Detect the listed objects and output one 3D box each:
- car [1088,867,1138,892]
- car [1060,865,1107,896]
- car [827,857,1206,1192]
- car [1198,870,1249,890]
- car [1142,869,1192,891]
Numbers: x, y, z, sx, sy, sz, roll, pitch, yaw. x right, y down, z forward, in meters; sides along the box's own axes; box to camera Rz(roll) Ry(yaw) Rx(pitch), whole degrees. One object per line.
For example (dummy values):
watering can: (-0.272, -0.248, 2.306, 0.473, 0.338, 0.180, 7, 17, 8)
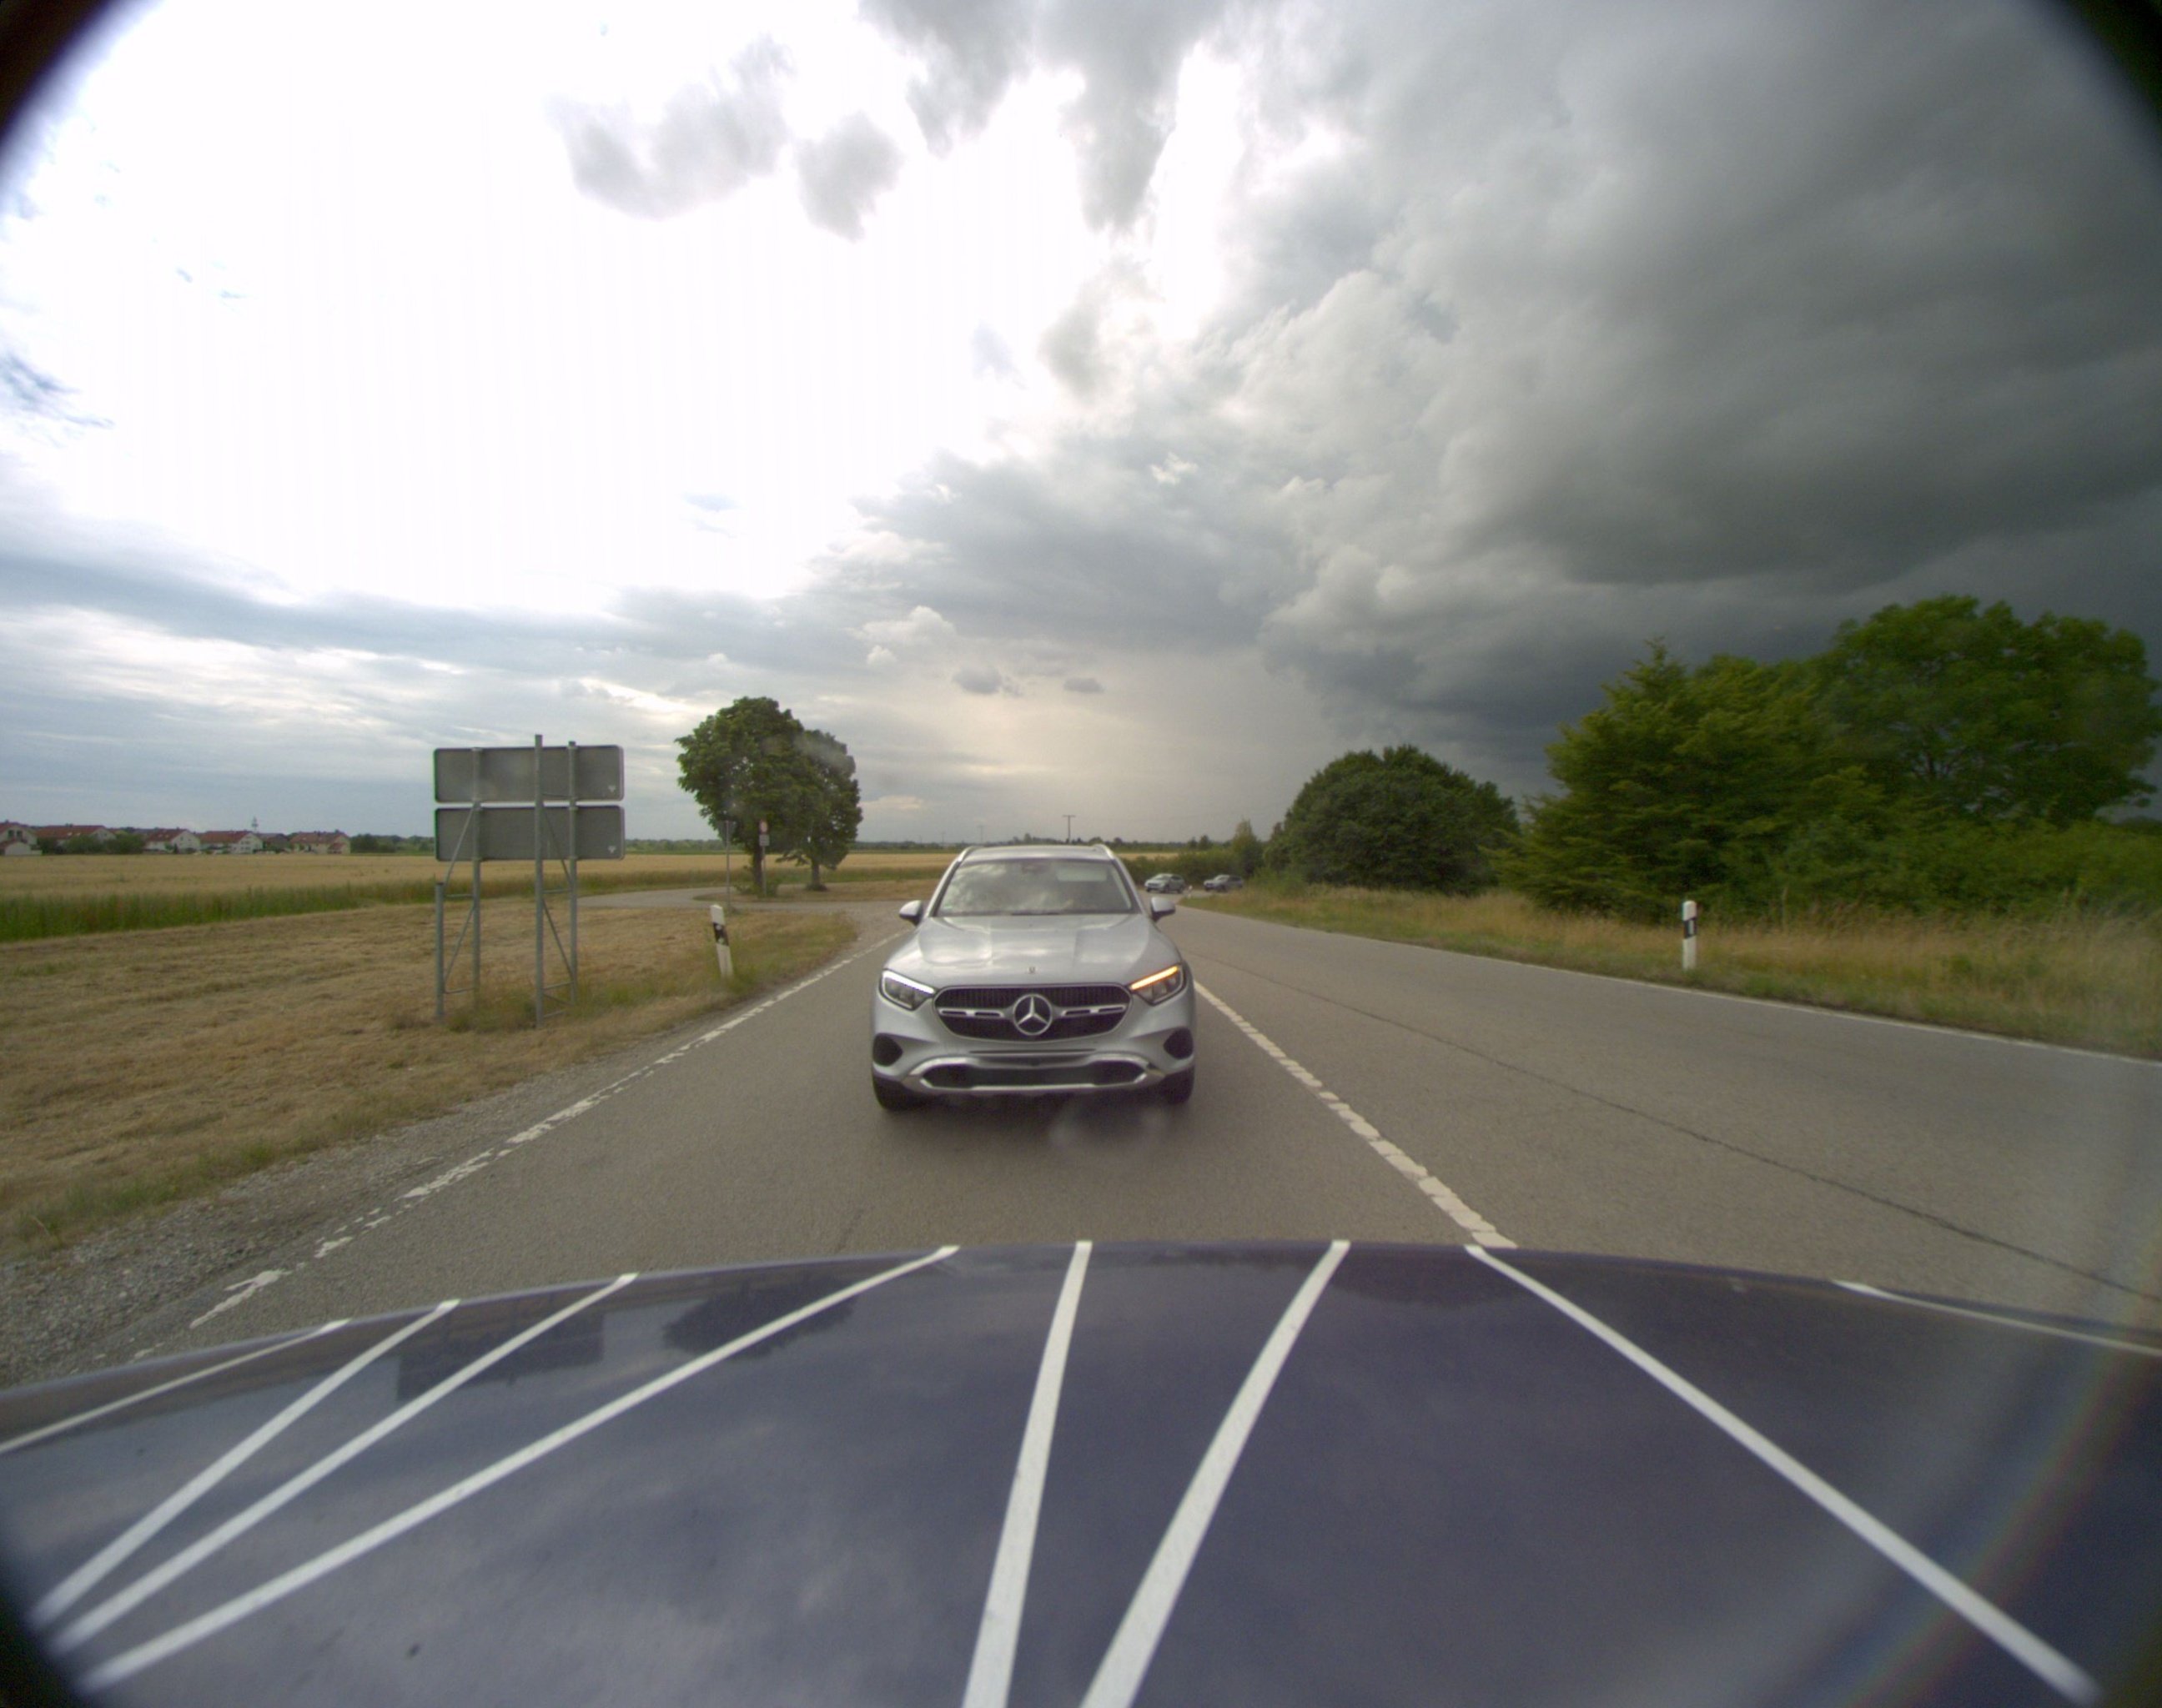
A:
car: (2.420, 1.876, 56.493, 1.995, 1.709, 5.218, 3, 0, 22)
car: (0.236, 1.625, 47.598, 1.997, 1.709, 5.213, 3, 0, 9)
car: (-0.381, 0.845, 5.980, 1.837, 1.577, 4.449, -1, 0, -2)
car: (13.822, 2.458, 73.576, 5.220, 1.710, 1.994, 0, 2, -42)
car: (7.413, 2.244, 65.195, 1.994, 1.709, 5.221, 3, 0, 34)
